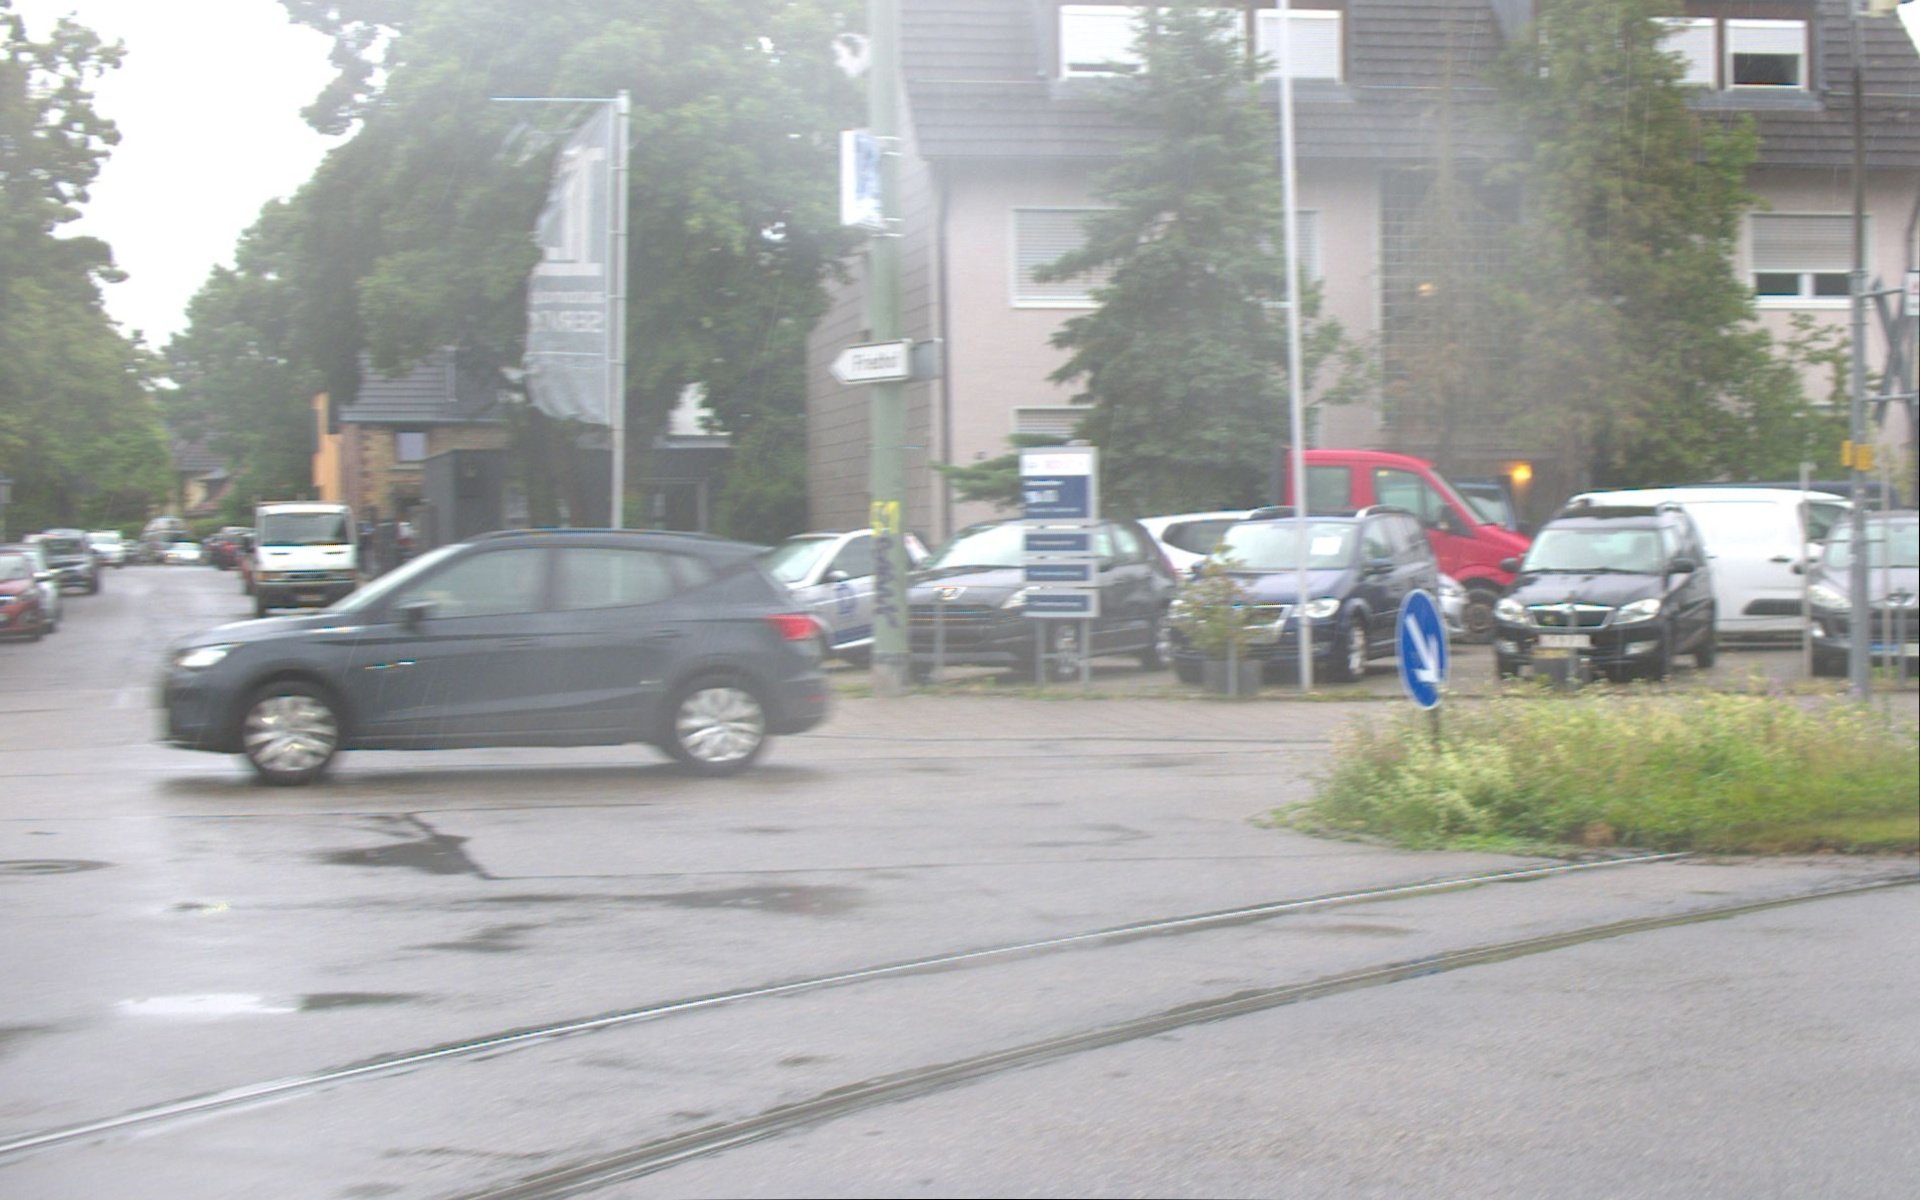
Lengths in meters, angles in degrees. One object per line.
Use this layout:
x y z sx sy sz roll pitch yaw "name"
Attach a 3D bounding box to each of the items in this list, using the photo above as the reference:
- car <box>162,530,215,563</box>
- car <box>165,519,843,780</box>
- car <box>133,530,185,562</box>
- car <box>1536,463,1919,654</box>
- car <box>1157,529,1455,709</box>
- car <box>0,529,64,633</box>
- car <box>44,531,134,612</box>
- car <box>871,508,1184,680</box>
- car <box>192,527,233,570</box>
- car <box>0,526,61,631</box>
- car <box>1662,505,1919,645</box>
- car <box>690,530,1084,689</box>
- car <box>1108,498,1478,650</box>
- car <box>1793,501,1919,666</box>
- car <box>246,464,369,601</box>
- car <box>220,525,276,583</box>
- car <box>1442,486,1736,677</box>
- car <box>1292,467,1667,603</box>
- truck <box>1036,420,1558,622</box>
-41.587 -2.881 185.292 1.828 1.691 4.032 1 1 -27 "car"
-2.878 0.262 21.438 3.986 1.471 2.001 -1 1 -12 "car"
-44.346 -3.016 190.311 1.828 1.691 4.032 1 1 -27 "car"
8.865 -0.462 38.228 4.431 2.007 2.000 -1 0 -8 "car"
3.387 0.145 33.000 1.804 1.573 3.868 -1 1 22 "car"
-16.614 -0.331 59.501 1.993 1.744 4.001 -1 1 -13 "car"
-22.519 -0.763 89.029 1.993 2.007 4.001 1 1 -11 "car"
0.733 -0.092 33.993 1.804 1.573 3.868 -1 1 22 "car"
-36.459 -2.519 167.619 1.828 2.007 4.001 1 1 -13 "car"
-15.446 -0.348 54.833 1.993 1.612 4.001 -1 1 -13 "car"
11.352 -0.325 43.441 4.431 1.681 2.000 -1 0 -8 "car"
-0.785 0.075 37.412 3.859 1.573 1.808 -2 1 -30 "car"
3.760 -0.282 38.451 3.967 1.592 1.999 -1 0 10 "car"
9.249 -0.157 33.585 1.829 1.499 4.055 2 1 18 "car"
-12.875 -1.325 67.672 2.152 2.564 4.135 1 1 -13 "car"
-25.511 -1.659 123.177 1.828 2.007 4.001 1 1 -13 "car"
6.119 -0.201 33.101 1.996 1.711 3.996 -1 1 22 "car"
6.763 -0.839 44.995 4.431 1.681 2.000 -1 0 -8 "car"
4.086 -0.921 41.400 6.085 2.264 1.999 -1 0 9 "truck"
